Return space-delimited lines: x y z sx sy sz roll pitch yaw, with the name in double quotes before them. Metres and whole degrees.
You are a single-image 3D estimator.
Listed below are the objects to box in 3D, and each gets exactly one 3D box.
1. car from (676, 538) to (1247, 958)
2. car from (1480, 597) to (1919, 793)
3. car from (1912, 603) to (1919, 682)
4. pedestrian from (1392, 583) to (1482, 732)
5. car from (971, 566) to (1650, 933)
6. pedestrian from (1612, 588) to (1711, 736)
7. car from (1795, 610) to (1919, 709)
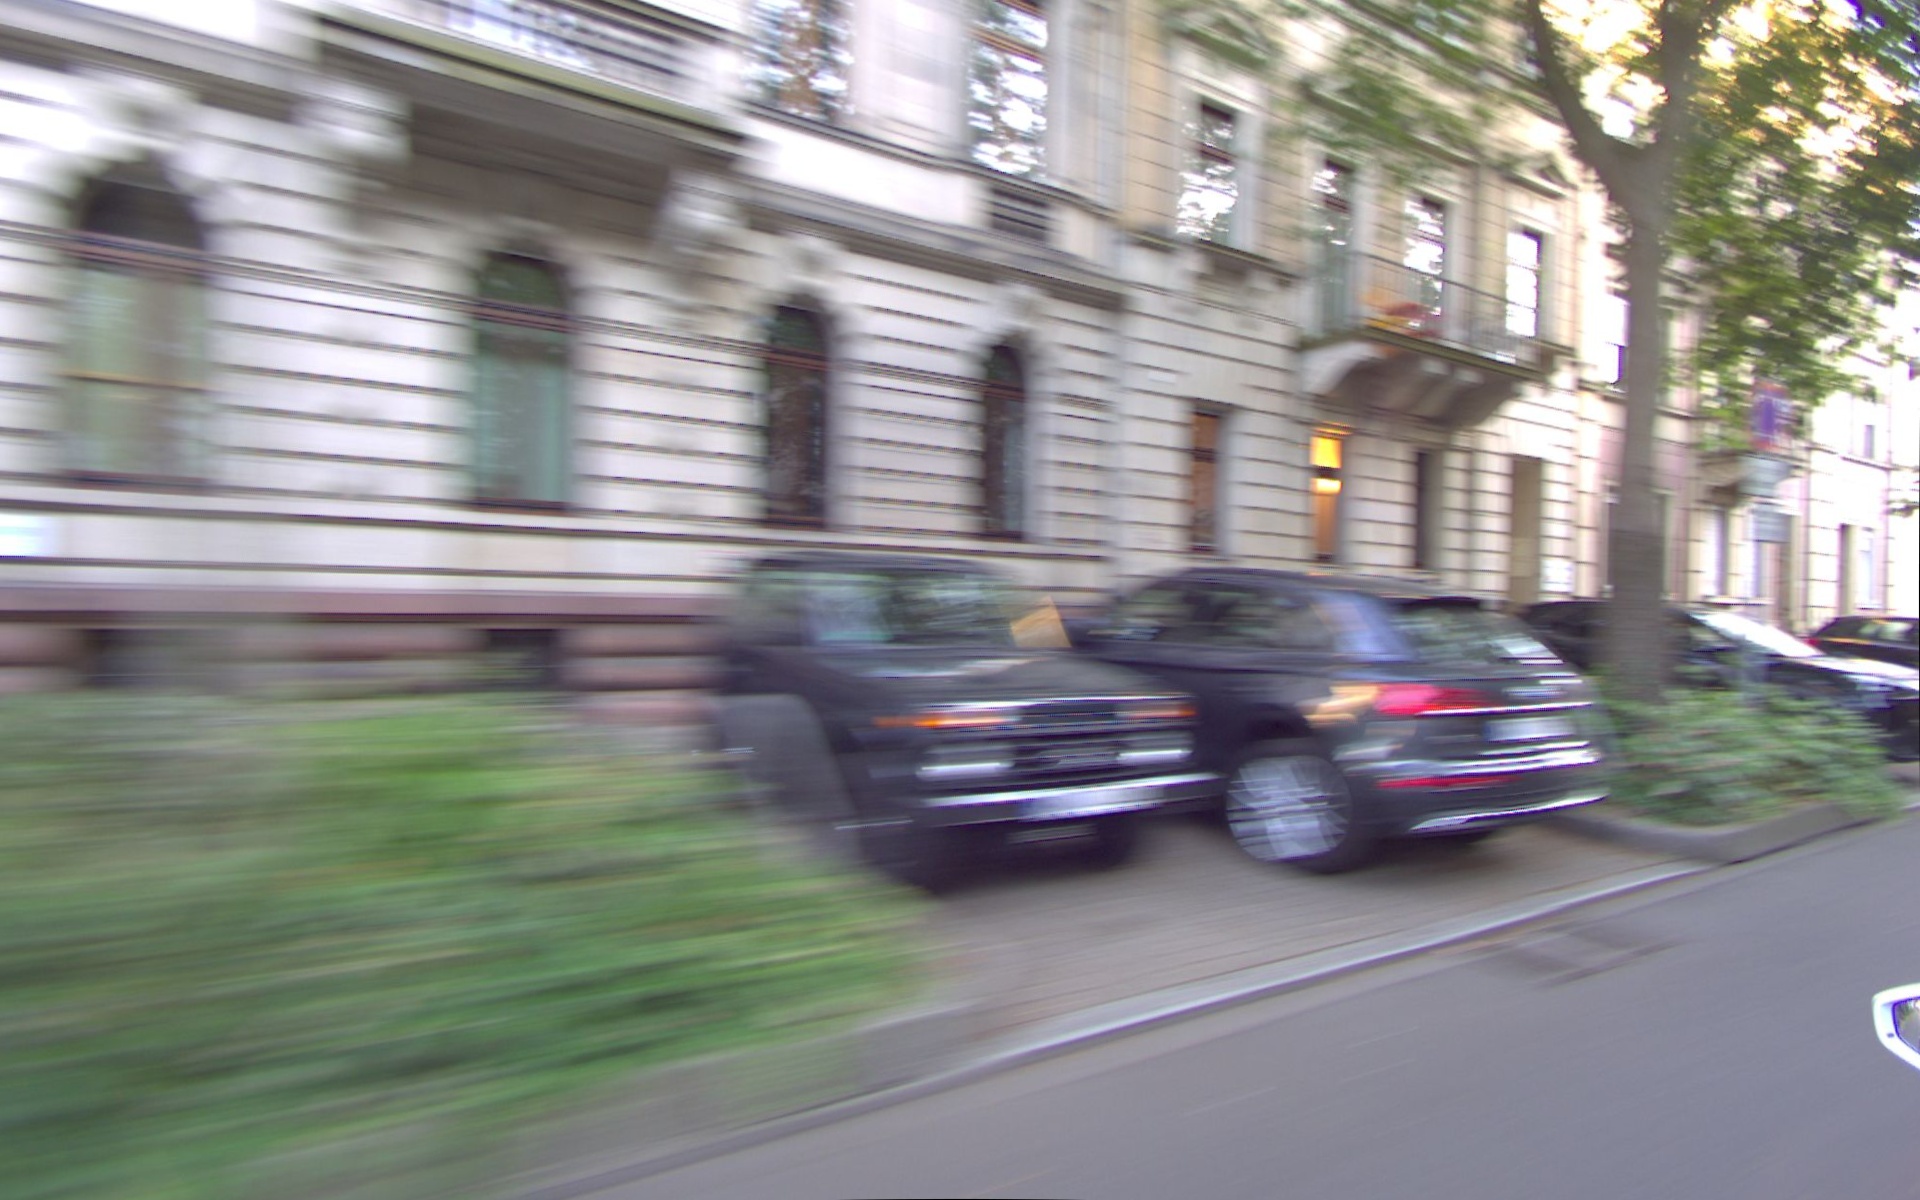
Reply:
"car" -0.318 0.542 6.099 1.695 1.694 3.779 0 2 -32
"car" 7.810 0.806 10.364 1.886 1.553 3.923 2 0 -32
"car" 22.121 0.977 19.868 1.851 1.673 4.403 0 2 -30
"pedestrian" 5.887 0.688 12.401 0.728 1.762 0.666 1 1 -29
"car" 1.978 0.641 6.946 1.886 1.694 4.178 0 2 -31
"pedestrian" 8.698 0.740 12.460 0.662 1.762 0.732 1 1 -25
"car" 15.928 0.971 15.958 1.852 1.478 3.671 0 2 -32
